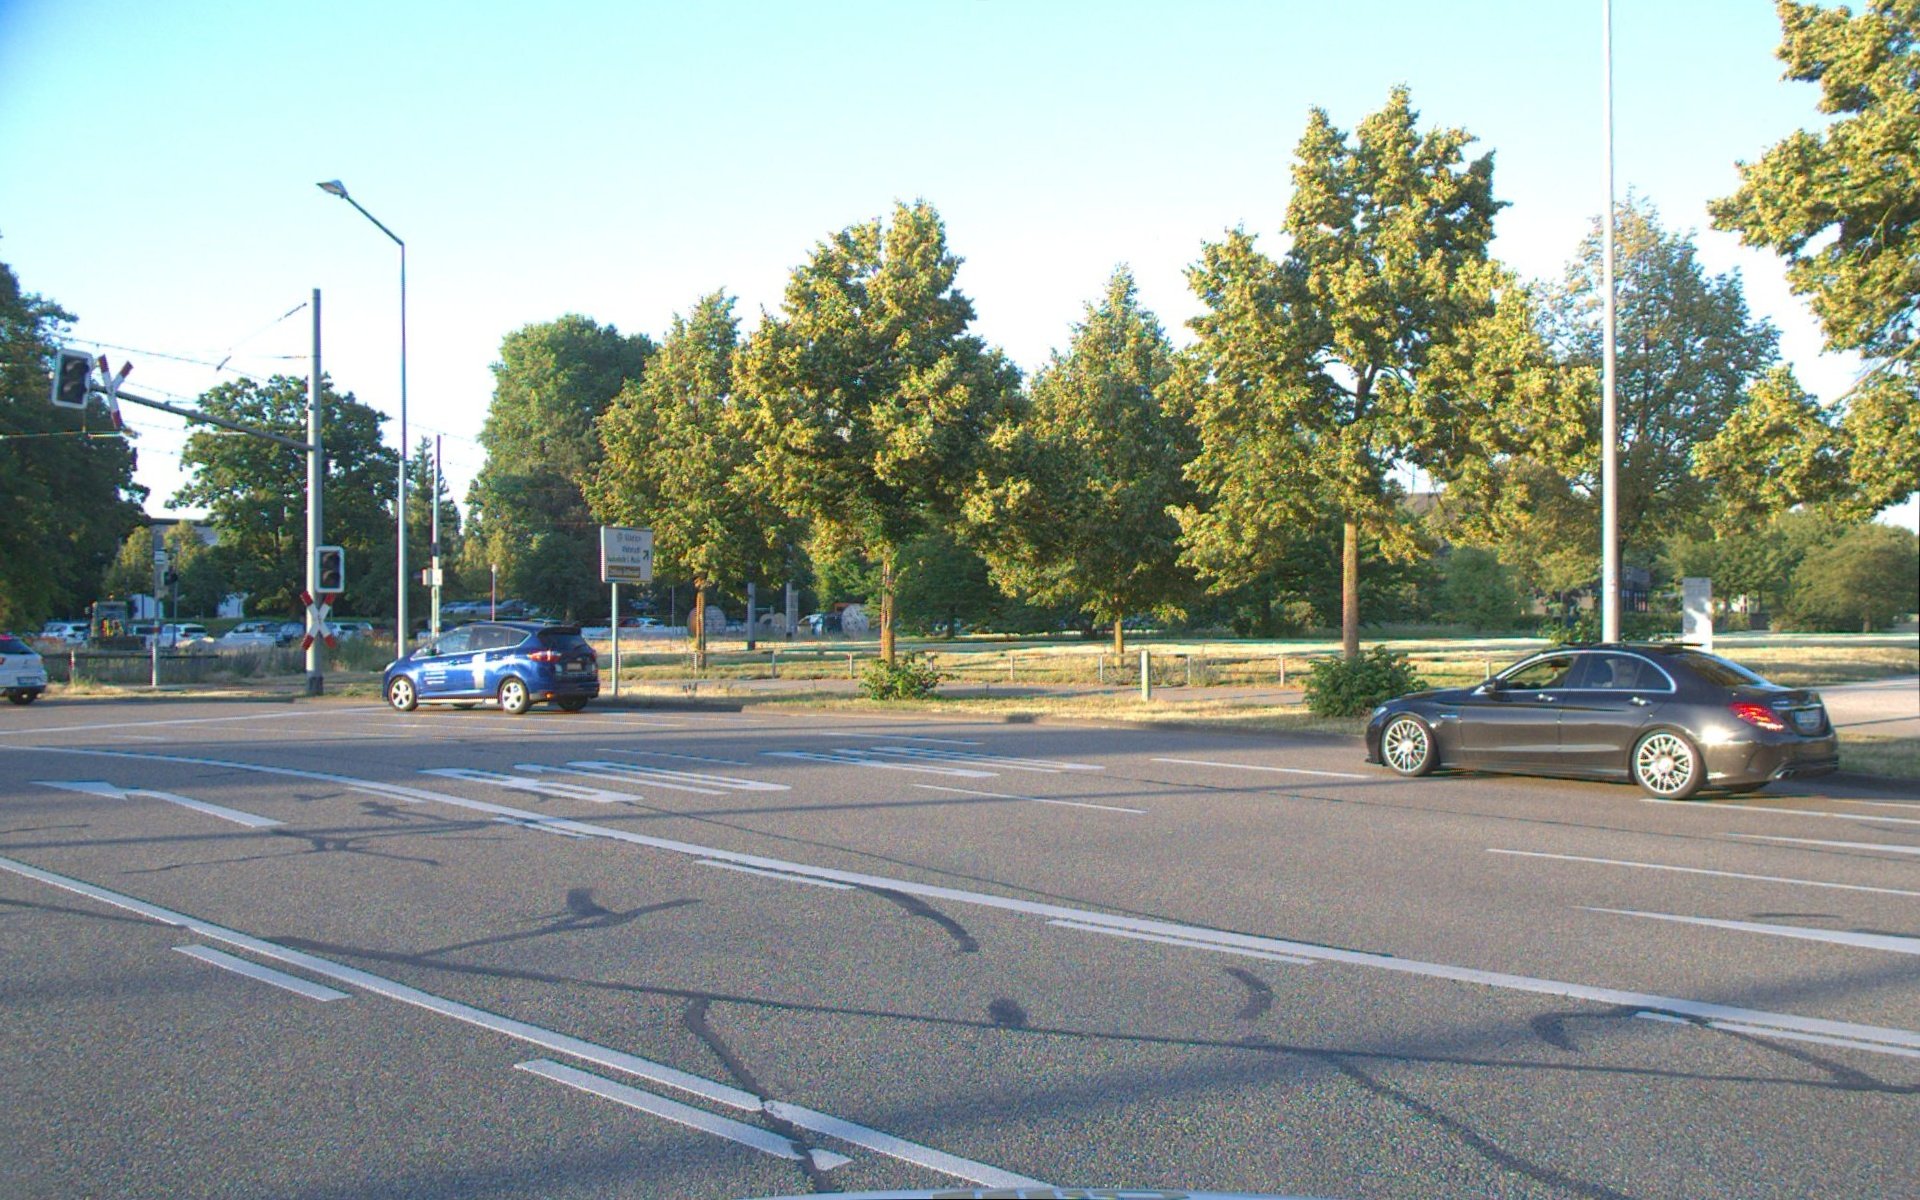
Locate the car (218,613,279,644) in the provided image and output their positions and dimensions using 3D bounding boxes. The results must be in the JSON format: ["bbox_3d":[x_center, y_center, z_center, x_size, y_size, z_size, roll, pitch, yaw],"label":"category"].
[{"bbox_3d":[-50.082,1.990,116.400,3.937,2.049,1.984,0,0,-25],"label":"car"}]

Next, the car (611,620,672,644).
[{"bbox_3d":[-22.065,2.212,114.484,3.917,1.632,1.994,-1,0,34],"label":"car"}]

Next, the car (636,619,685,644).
[{"bbox_3d":[-23.204,2.385,127.974,1.977,1.783,4.541,0,1,-35],"label":"car"}]

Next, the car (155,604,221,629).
[{"bbox_3d":[-63.678,1.330,136.459,1.959,2.049,4.583,-1,0,35],"label":"car"}]

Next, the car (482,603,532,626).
[{"bbox_3d":[-40.458,1.281,147.782,1.964,2.049,3.977,-1,0,41],"label":"car"}]

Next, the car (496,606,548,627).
[{"bbox_3d":[-38.143,1.436,144.209,3.902,1.736,2.002,0,0,8],"label":"car"}]

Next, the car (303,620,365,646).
[{"bbox_3d":[-43.001,2.246,113.697,3.930,1.691,1.890,0,0,-22],"label":"car"}]

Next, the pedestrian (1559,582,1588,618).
[{"bbox_3d":[28.236,0.020,76.123,1.047,1.646,0.911,0,0,3],"label":"pedestrian"}]

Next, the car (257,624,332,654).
[{"bbox_3d":[-36.805,2.146,91.463,3.917,1.632,1.994,-1,0,34],"label":"car"}]

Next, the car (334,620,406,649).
[{"bbox_3d":[-34.066,1.967,95.442,3.917,1.632,1.994,-1,0,34],"label":"car"}]

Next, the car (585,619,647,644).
[{"bbox_3d":[-23.475,2.117,112.770,3.917,1.632,1.994,-1,0,34],"label":"car"}]

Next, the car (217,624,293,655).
[{"bbox_3d":[-38.287,2.105,89.832,3.917,1.632,1.994,-1,0,34],"label":"car"}]

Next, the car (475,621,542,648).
[{"bbox_3d":[-28.394,2.148,103.900,3.917,1.632,1.994,-1,0,34],"label":"car"}]

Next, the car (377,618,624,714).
[{"bbox_3d":[-8.373,1.161,30.151,4.083,1.611,1.915,0,0,24],"label":"car"}]

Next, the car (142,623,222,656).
[{"bbox_3d":[-40.120,2.027,85.287,3.917,1.632,1.994,-1,0,34],"label":"car"}]

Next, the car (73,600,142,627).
[{"bbox_3d":[-67.315,1.073,130.678,1.957,2.049,4.589,-1,0,30],"label":"car"}]

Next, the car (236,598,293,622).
[{"bbox_3d":[-59.876,0.844,142.395,1.959,2.049,4.103,-1,0,34],"label":"car"}]

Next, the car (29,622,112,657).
[{"bbox_3d":[-43.593,1.926,81.020,3.917,1.632,1.994,-1,0,34],"label":"car"}]

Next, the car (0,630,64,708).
[{"bbox_3d":[-20.396,1.369,33.209,3.874,1.479,1.869,0,0,7],"label":"car"}]

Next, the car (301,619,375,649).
[{"bbox_3d":[-35.063,1.928,93.248,3.917,1.632,1.994,-1,0,34],"label":"car"}]

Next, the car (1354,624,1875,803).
[{"bbox_3d":[6.487,1.039,16.805,1.982,1.531,4.551,2,-2,-41],"label":"car"}]

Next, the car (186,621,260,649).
[{"bbox_3d":[-47.581,2.254,106.781,1.864,1.691,3.986,-1,0,35],"label":"car"}]

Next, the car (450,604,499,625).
[{"bbox_3d":[-44.250,1.313,150.706,1.960,1.847,3.985,-1,0,35],"label":"car"}]

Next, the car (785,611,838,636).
[{"bbox_3d":[-10.192,1.620,113.438,1.722,1.646,3.943,0,-1,-39],"label":"car"}]

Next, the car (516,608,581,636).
[{"bbox_3d":[-30.984,1.665,124.647,4.497,2.049,1.996,0,0,-8],"label":"car"}]
